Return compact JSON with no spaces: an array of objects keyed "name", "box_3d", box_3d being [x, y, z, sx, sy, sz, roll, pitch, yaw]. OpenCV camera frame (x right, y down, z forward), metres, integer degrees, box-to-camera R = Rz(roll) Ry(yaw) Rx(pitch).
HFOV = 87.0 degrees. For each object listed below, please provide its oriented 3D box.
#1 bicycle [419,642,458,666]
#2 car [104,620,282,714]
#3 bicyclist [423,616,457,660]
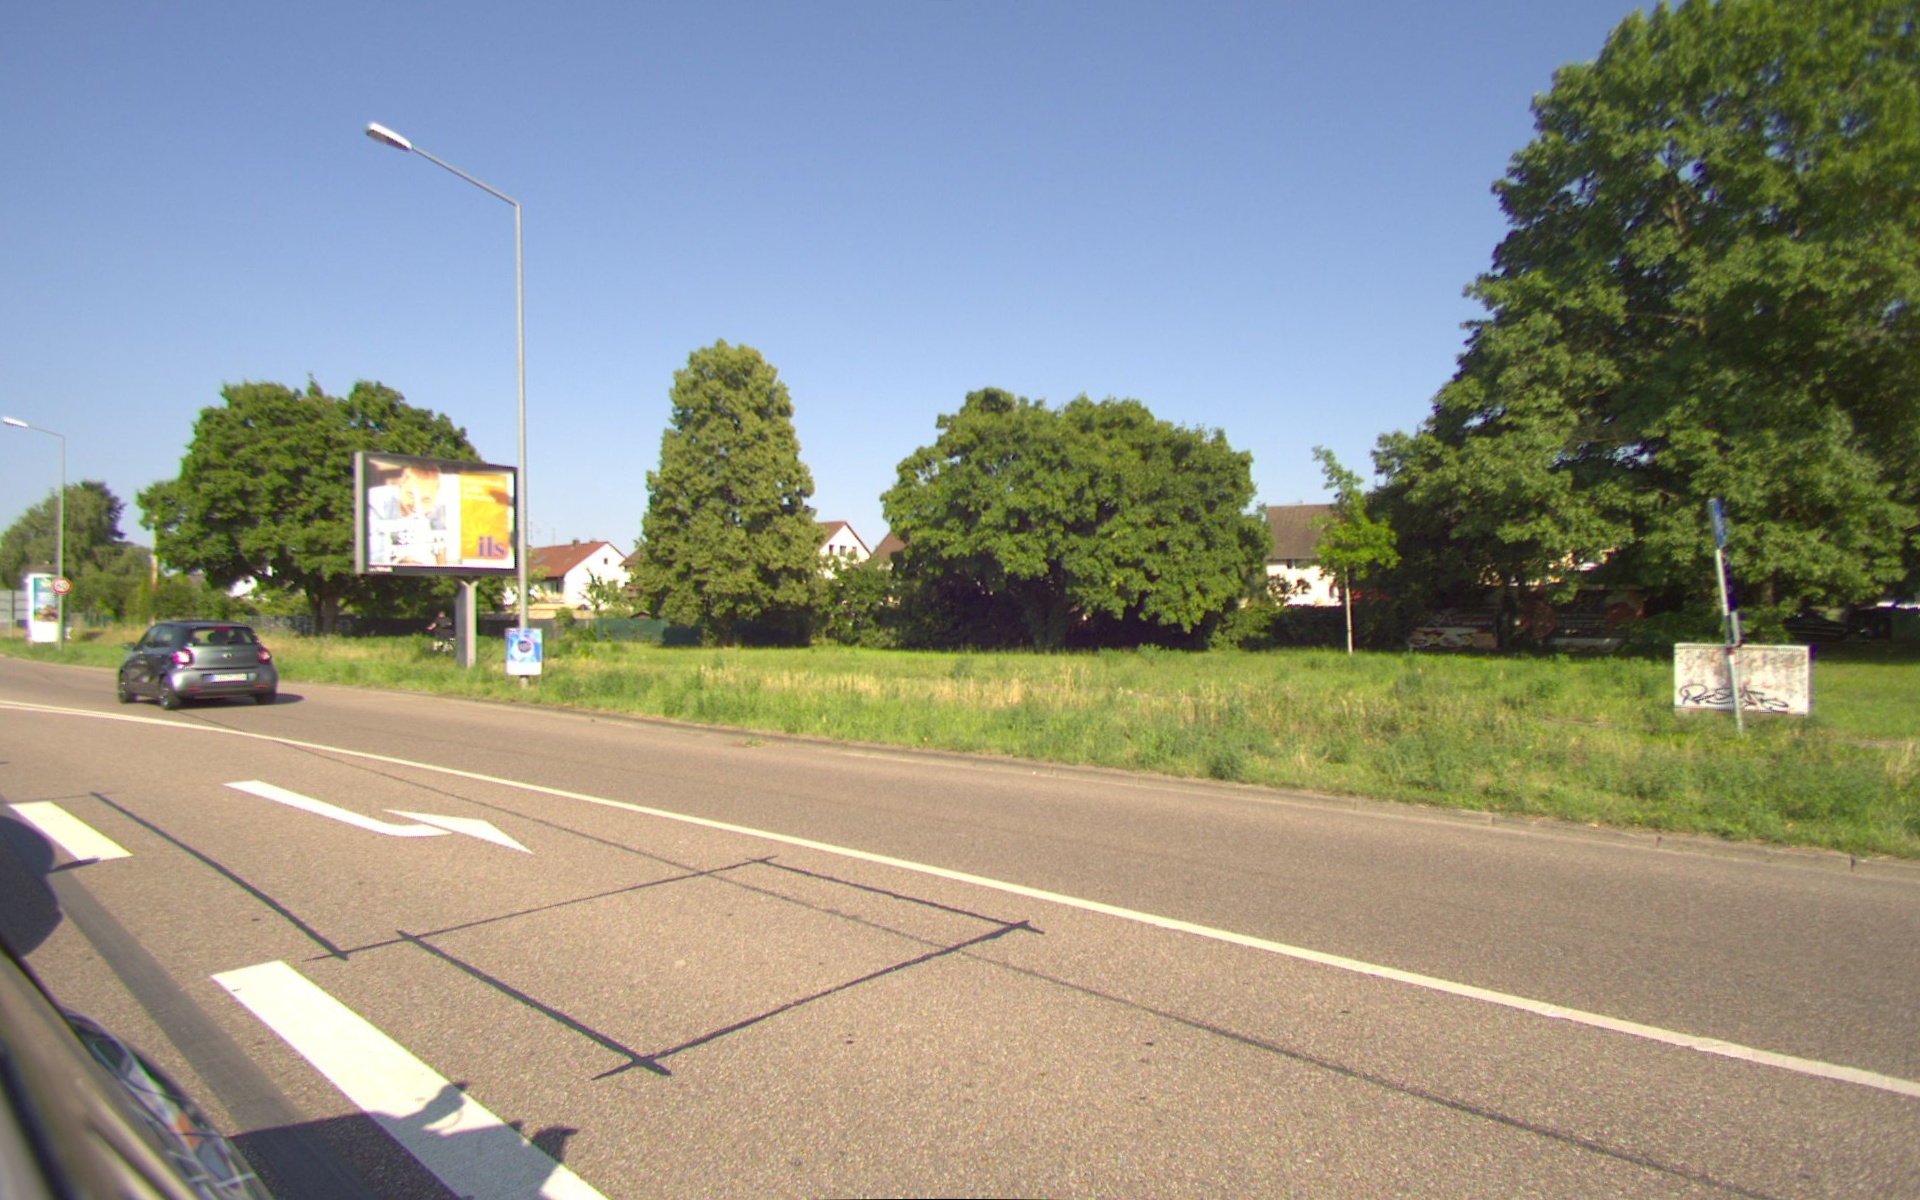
[{"name":"bicycle","box_3d":[-17.467,1.812,33.892,1.832,0.759,0.450,-1,-1,39]},{"name":"car","box_3d":[-14.100,1.153,18.553,3.669,1.572,1.618,-1,-2,36]},{"name":"bicyclist","box_3d":[-17.392,1.269,33.861,1.070,1.439,0.630,-1,-1,38]}]
